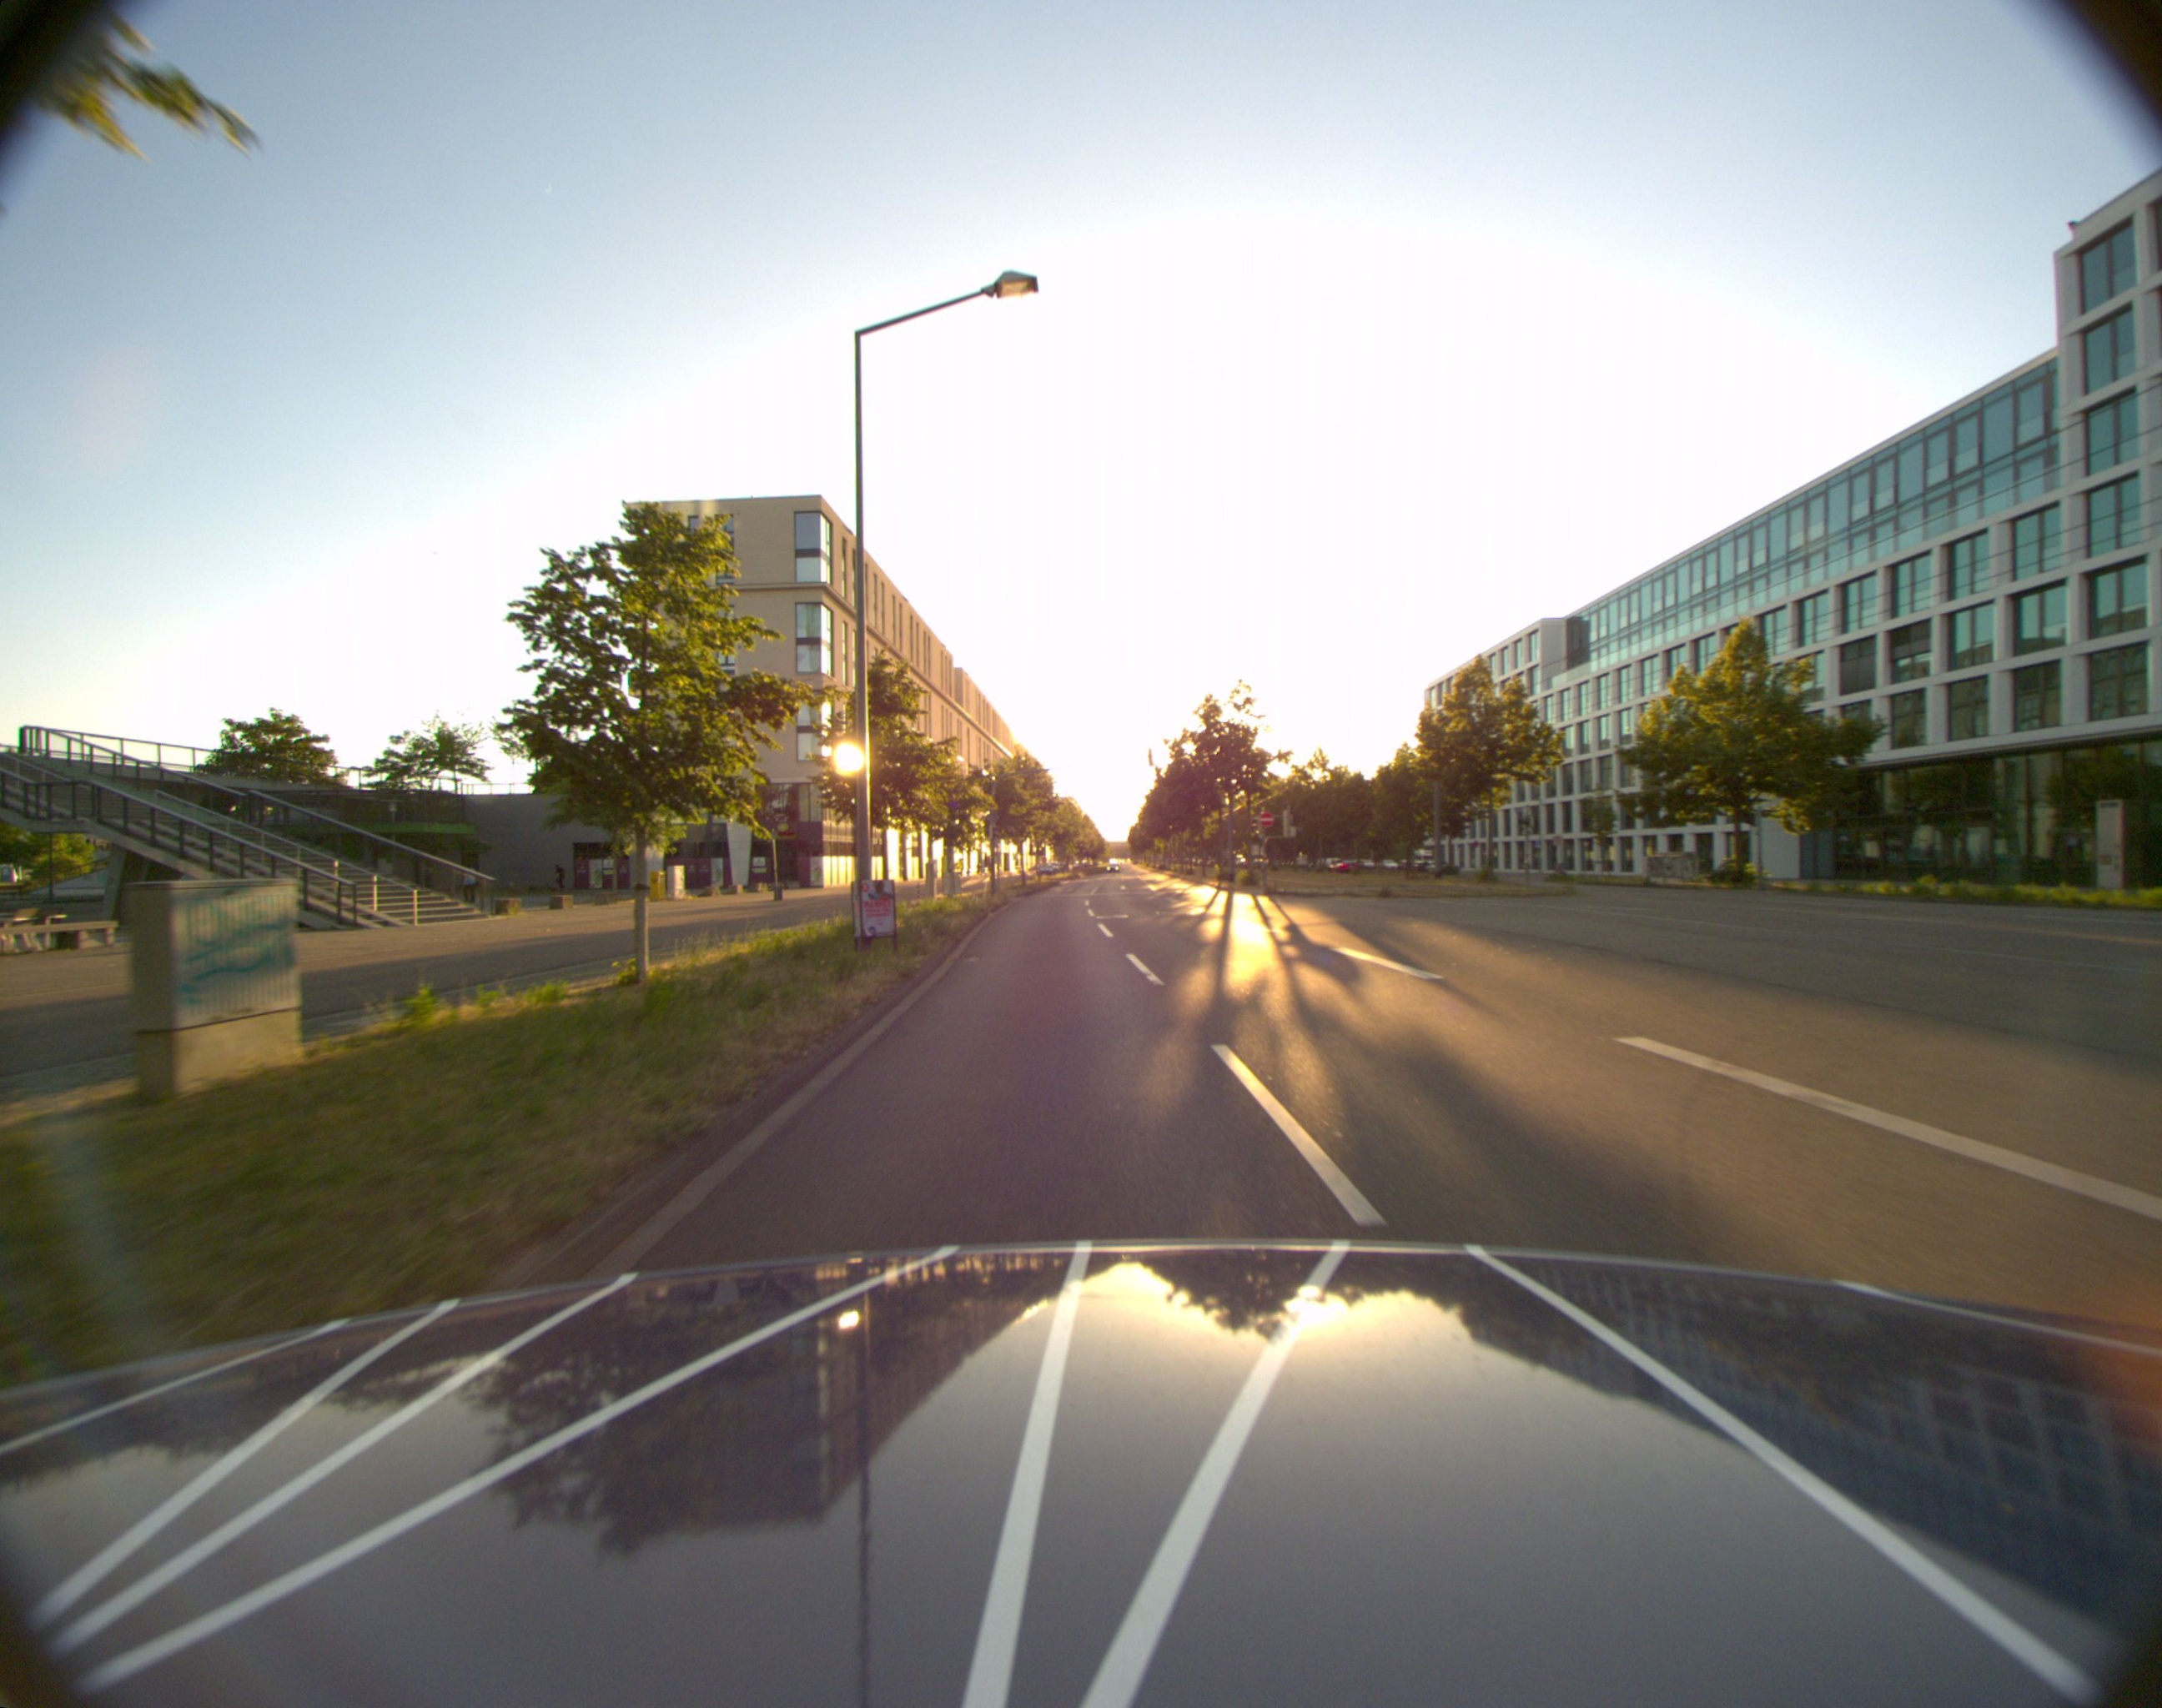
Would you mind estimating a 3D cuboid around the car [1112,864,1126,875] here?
[{"bbox_3d":[5.628,2.278,113.099,1.998,1.473,4.336,-1,0,3],"label":"car"}]

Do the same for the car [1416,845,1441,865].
[{"bbox_3d":[52.929,0.213,115.923,2.163,2.973,5.726,-1,0,11],"label":"car"}]

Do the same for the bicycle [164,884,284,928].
[{"bbox_3d":[-27.041,1.615,24.043,0.732,1.229,2.452,-1,0,14],"label":"bicycle"}]

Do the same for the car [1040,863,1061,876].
[{"bbox_3d":[-3.449,1.744,85.771,1.998,1.455,4.001,-1,0,3],"label":"car"}]

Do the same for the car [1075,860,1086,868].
[{"bbox_3d":[-0.013,2.074,154.908,1.998,1.594,4.001,-1,0,3],"label":"car"}]

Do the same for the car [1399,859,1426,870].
[{"bbox_3d":[41.780,1.299,95.749,1.763,1.394,4.001,-1,0,1],"label":"car"}]

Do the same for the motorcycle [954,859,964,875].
[{"bbox_3d":[-13.673,1.436,85.203,0.690,1.689,2.124,-1,0,3],"label":"motorcycle"}]

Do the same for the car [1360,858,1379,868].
[{"bbox_3d":[45.355,1.403,119.428,1.997,1.583,4.338,-1,0,9],"label":"car"}]

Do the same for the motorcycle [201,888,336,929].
[{"bbox_3d":[-23.880,1.562,22.436,0.732,1.037,2.694,-1,0,14],"label":"motorcycle"}]

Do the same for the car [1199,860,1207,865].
[{"bbox_3d":[30.206,2.094,188.172,1.649,1.394,4.001,-1,0,2],"label":"car"}]

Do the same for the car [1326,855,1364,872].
[{"bbox_3d":[24.354,0.866,70.236,1.998,1.426,4.900,-1,0,2],"label":"car"}]

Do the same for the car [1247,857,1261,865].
[{"bbox_3d":[30.843,1.236,135.854,1.649,1.394,4.001,-1,0,2],"label":"car"}]

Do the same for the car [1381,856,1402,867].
[{"bbox_3d":[46.929,1.151,114.836,1.997,1.583,4.003,-1,0,9],"label":"car"}]

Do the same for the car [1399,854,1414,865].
[{"bbox_3d":[54.631,0.907,127.694,1.849,1.801,4.005,-1,0,16],"label":"car"}]

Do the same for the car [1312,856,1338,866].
[{"bbox_3d":[44.802,1.294,139.665,4.082,1.730,2.000,-1,0,1],"label":"car"}]

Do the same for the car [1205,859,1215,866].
[{"bbox_3d":[28.655,1.845,168.362,1.649,1.394,4.001,-1,0,2],"label":"car"}]

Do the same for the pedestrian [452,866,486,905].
[{"bbox_3d":[-29.380,1.481,36.484,0.898,1.833,0.838,-1,0,-3],"label":"pedestrian"}]

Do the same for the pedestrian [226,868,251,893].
[{"bbox_3d":[-55.557,1.750,50.118,0.716,1.585,0.798,-1,0,9],"label":"pedestrian"}]

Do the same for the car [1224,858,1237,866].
[{"bbox_3d":[28.085,1.454,142.658,1.649,1.394,4.001,-1,0,2],"label":"car"}]

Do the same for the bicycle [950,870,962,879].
[{"bbox_3d":[-11.694,1.930,70.911,0.547,0.856,1.573,-1,0,-29],"label":"bicycle"}]

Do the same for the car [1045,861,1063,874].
[{"bbox_3d":[-3.428,1.754,97.144,1.998,1.594,4.001,-1,0,3],"label":"car"}]

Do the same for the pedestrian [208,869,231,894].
[{"bbox_3d":[-56.710,1.800,50.039,0.718,1.585,0.796,-1,0,-22],"label":"pedestrian"}]

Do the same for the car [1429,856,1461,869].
[{"bbox_3d":[41.057,0.909,85.805,1.763,1.394,4.001,-1,0,1],"label":"car"}]

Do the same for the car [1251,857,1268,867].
[{"bbox_3d":[26.158,1.212,111.363,1.649,1.394,4.001,-1,0,2],"label":"car"}]

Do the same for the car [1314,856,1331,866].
[{"bbox_3d":[45.669,1.340,143.720,1.998,1.730,4.612,-1,0,3],"label":"car"}]

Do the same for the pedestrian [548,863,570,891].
[{"bbox_3d":[-31.969,1.384,46.513,0.766,1.672,0.765,-1,0,5],"label":"pedestrian"}]

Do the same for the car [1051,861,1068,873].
[{"bbox_3d":[-2.918,1.780,104.067,1.998,1.594,4.001,-1,0,3],"label":"car"}]
